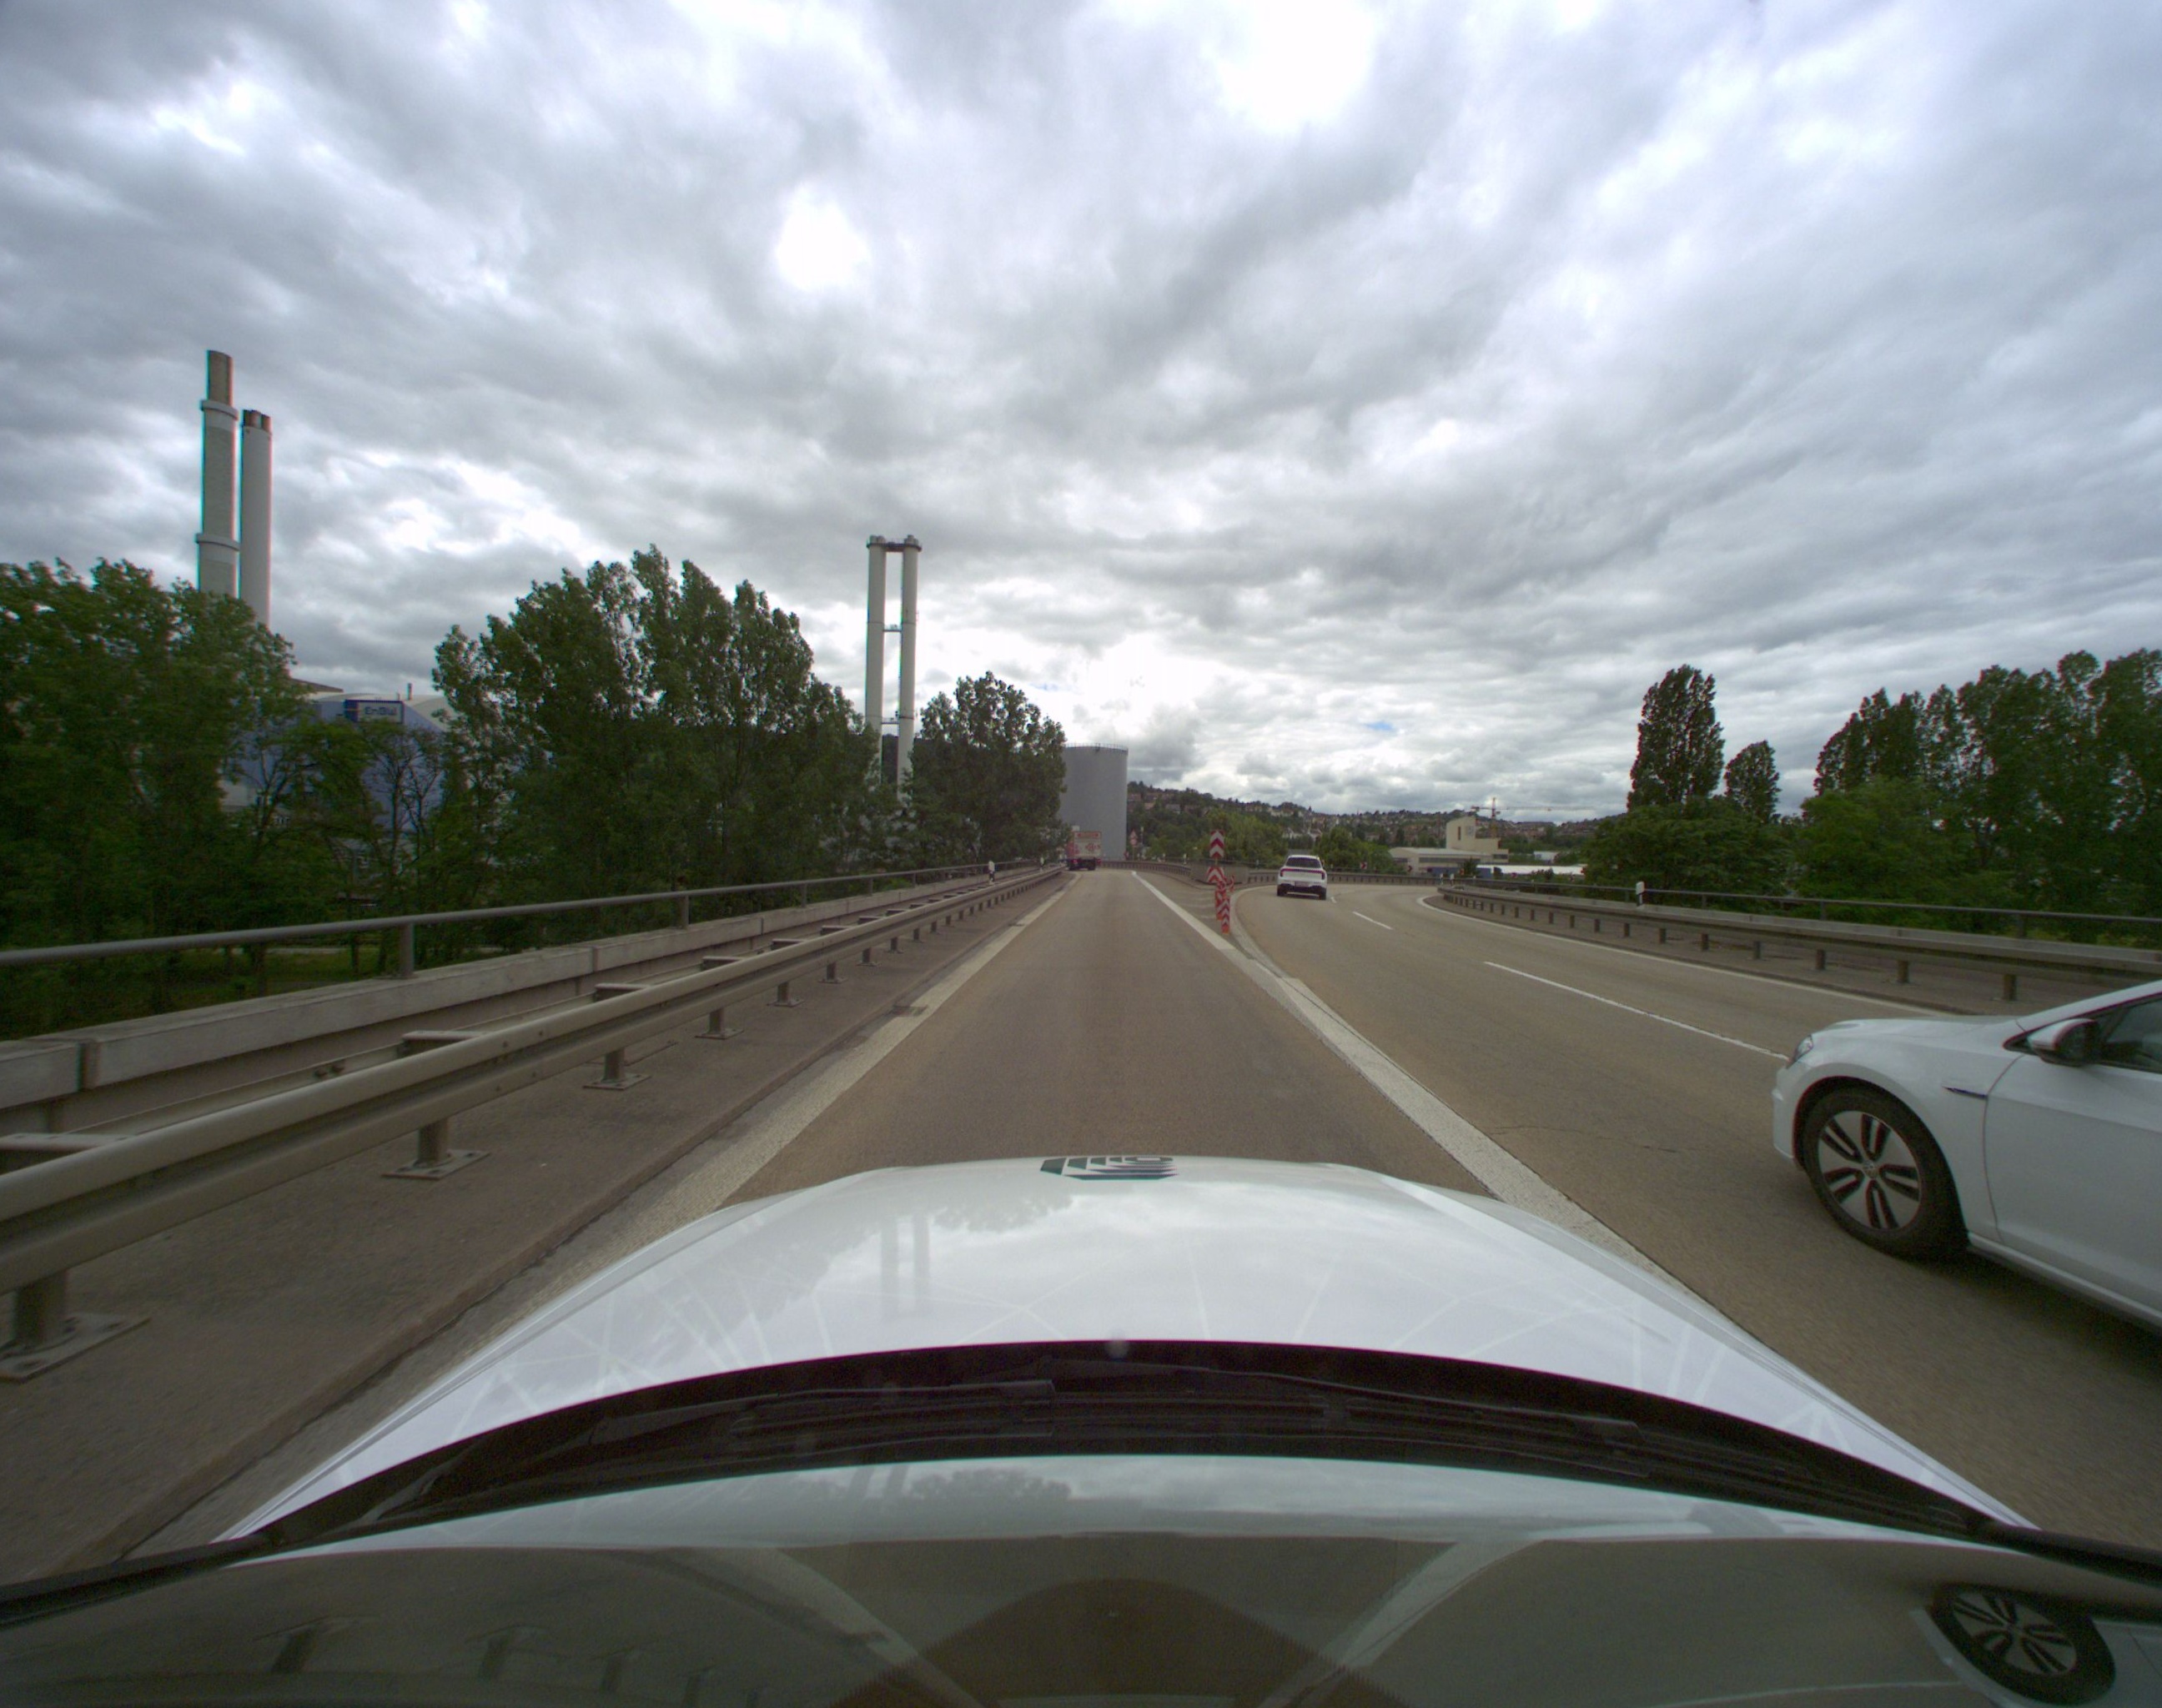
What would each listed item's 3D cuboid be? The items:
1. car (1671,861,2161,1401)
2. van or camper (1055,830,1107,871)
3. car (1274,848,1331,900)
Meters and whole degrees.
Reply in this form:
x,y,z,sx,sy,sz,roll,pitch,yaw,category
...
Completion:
x,y,z,sx,sy,sz,roll,pitch,yaw,category
3.872,0.784,2.131,1.748,1.451,4.073,-1,0,1,car
-0.121,-0.331,75.436,3.124,3.579,8.515,0,0,-12,van or camper
8.809,0.731,32.560,1.910,1.785,4.128,5,1,14,car
